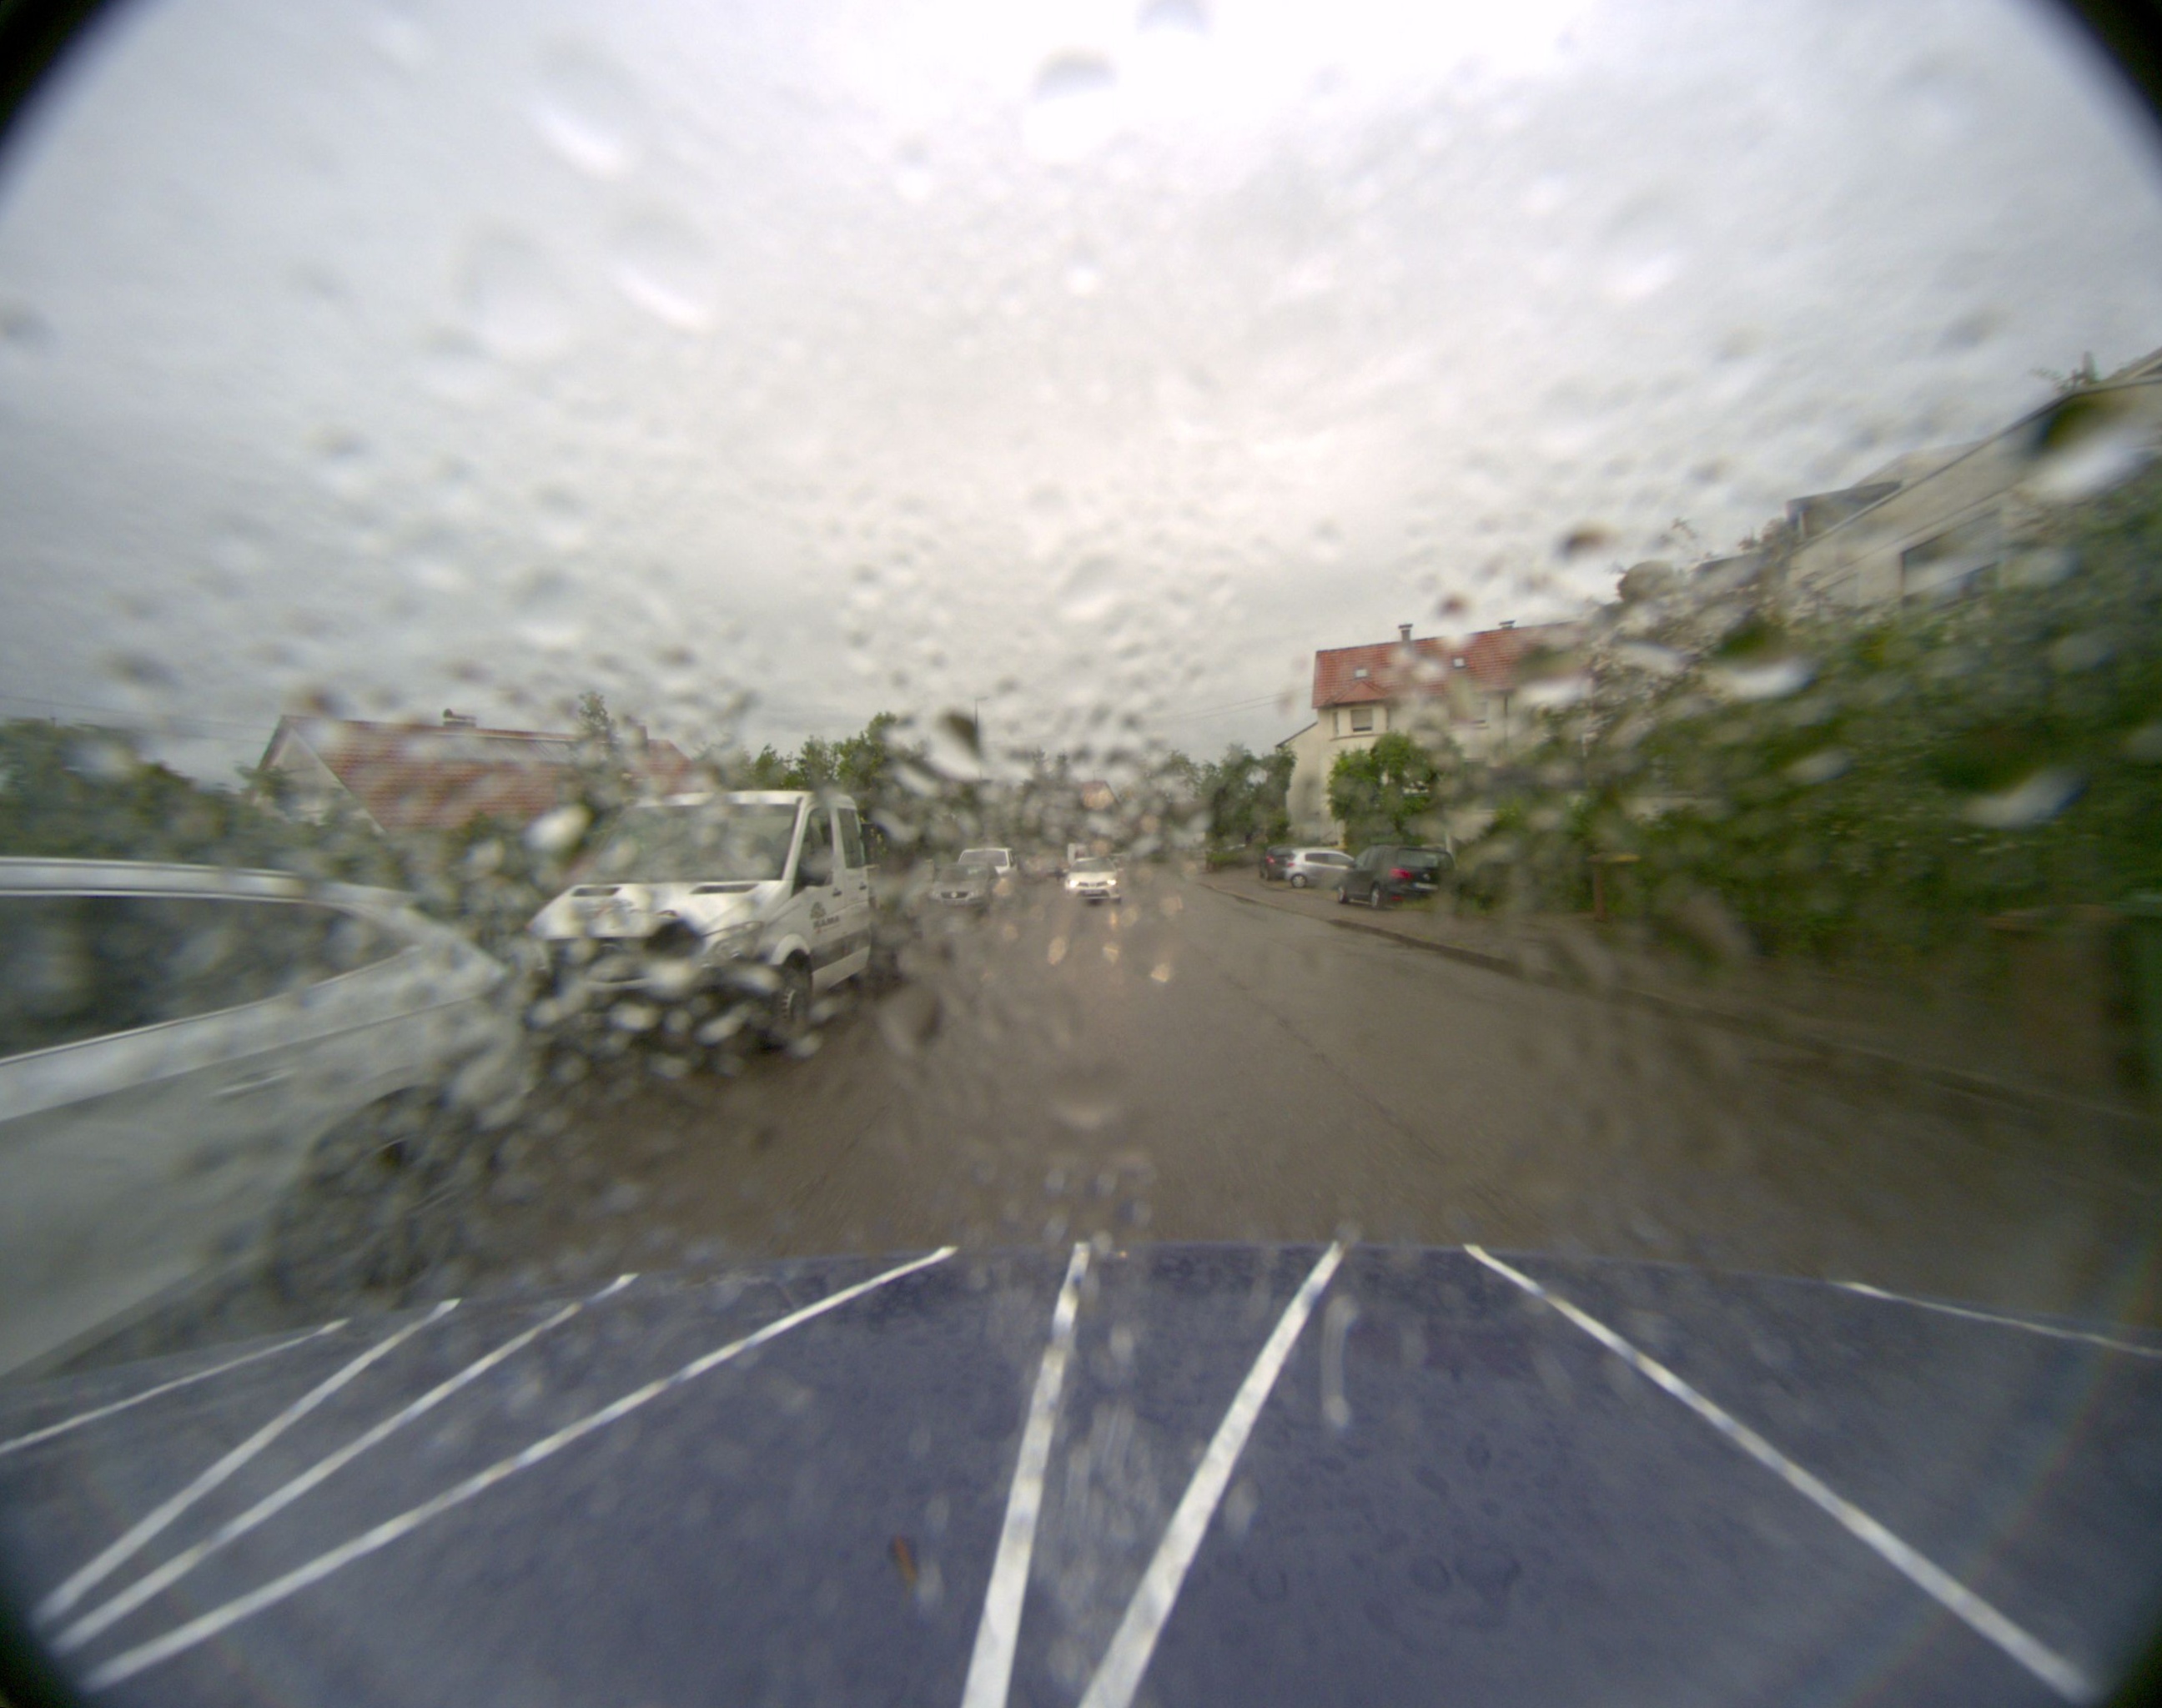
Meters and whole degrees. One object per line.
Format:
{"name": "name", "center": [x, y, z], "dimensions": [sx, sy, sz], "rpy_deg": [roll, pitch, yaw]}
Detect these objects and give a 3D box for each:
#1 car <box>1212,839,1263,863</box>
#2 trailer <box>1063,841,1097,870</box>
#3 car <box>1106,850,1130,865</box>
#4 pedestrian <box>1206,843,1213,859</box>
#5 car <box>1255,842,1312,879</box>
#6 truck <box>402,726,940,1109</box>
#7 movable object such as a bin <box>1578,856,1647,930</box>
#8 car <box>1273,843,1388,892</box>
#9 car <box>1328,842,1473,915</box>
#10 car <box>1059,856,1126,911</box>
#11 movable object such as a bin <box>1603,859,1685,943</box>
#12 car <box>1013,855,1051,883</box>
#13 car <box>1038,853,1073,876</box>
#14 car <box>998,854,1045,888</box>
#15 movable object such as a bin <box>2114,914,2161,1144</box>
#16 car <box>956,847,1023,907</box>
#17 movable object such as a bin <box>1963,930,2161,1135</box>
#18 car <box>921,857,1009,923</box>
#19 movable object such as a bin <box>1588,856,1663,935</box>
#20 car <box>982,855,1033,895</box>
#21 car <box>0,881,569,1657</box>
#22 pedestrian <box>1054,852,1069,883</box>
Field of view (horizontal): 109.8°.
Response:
{"name": "car", "center": [15.006, -0.305, 72.812], "dimensions": [4.517, 1.604, 1.934], "rpy_deg": [-8, -1, 15]}
{"name": "trailer", "center": [-0.010, 0.083, 65.831], "dimensions": [1.952, 2.442, 5.438], "rpy_deg": [-1, 1, 10]}
{"name": "car", "center": [3.933, 0.365, 80.357], "dimensions": [1.635, 1.448, 3.705], "rpy_deg": [-1, 1, 17]}
{"name": "pedestrian", "center": [14.060, -0.328, 82.880], "dimensions": [0.657, 1.639, 0.733], "rpy_deg": [-2, 0, 12]}
{"name": "car", "center": [8.787, 0.238, 33.243], "dimensions": [1.769, 1.368, 4.249], "rpy_deg": [-5, 0, 8]}
{"name": "truck", "center": [-3.448, 0.411, 8.535], "dimensions": [2.244, 2.616, 6.538], "rpy_deg": [-1, 1, 2]}
{"name": "movable object such as a bin", "center": [8.119, 0.589, 11.637], "dimensions": [0.698, 1.076, 0.710], "rpy_deg": [-1, 1, 20]}
{"name": "car", "center": [9.232, 0.469, 28.369], "dimensions": [3.831, 1.470, 1.805], "rpy_deg": [4, 3, 15]}
{"name": "car", "center": [7.829, 0.522, 19.118], "dimensions": [1.807, 1.588, 4.417], "rpy_deg": [-1, 1, 1]}
{"name": "car", "center": [0.421, 0.863, 24.062], "dimensions": [1.863, 1.370, 4.180], "rpy_deg": [-3, 1, 2]}
{"name": "movable object such as a bin", "center": [7.586, 0.620, 10.272], "dimensions": [0.698, 1.076, 0.710], "rpy_deg": [-1, 1, 20]}
{"name": "car", "center": [-2.750, 0.833, 43.425], "dimensions": [1.739, 1.406, 3.852], "rpy_deg": [-1, 1, 3]}
{"name": "car", "center": [-1.785, 0.723, 54.929], "dimensions": [1.796, 1.451, 4.790], "rpy_deg": [-1, 1, 6]}
{"name": "car", "center": [-2.951, 0.820, 38.344], "dimensions": [1.820, 1.498, 4.724], "rpy_deg": [-1, 1, 2]}
{"name": "movable object such as a bin", "center": [5.366, 0.818, 3.395], "dimensions": [0.604, 1.057, 0.638], "rpy_deg": [-3, 1, -3]}
{"name": "car", "center": [-3.109, 0.722, 26.853], "dimensions": [1.854, 1.871, 4.909], "rpy_deg": [-1, 1, -2]}
{"name": "movable object such as a bin", "center": [5.358, 0.915, 4.064], "dimensions": [0.604, 0.923, 0.564], "rpy_deg": [-3, 1, -3]}
{"name": "car", "center": [-3.100, 0.907, 21.075], "dimensions": [1.652, 1.554, 3.963], "rpy_deg": [-1, 1, 2]}
{"name": "movable object such as a bin", "center": [7.841, 0.585, 10.965], "dimensions": [0.698, 1.076, 0.710], "rpy_deg": [-1, 1, 19]}
{"name": "car", "center": [-3.118, 0.869, 33.018], "dimensions": [1.648, 1.532, 4.353], "rpy_deg": [-1, 1, 2]}
{"name": "car", "center": [-3.243, 0.969, 1.111], "dimensions": [1.764, 1.595, 4.666], "rpy_deg": [-1, 1, 0]}
{"name": "pedestrian", "center": [-1.046, 0.728, 40.502], "dimensions": [0.718, 1.625, 0.707], "rpy_deg": [-2, 1, 2]}
